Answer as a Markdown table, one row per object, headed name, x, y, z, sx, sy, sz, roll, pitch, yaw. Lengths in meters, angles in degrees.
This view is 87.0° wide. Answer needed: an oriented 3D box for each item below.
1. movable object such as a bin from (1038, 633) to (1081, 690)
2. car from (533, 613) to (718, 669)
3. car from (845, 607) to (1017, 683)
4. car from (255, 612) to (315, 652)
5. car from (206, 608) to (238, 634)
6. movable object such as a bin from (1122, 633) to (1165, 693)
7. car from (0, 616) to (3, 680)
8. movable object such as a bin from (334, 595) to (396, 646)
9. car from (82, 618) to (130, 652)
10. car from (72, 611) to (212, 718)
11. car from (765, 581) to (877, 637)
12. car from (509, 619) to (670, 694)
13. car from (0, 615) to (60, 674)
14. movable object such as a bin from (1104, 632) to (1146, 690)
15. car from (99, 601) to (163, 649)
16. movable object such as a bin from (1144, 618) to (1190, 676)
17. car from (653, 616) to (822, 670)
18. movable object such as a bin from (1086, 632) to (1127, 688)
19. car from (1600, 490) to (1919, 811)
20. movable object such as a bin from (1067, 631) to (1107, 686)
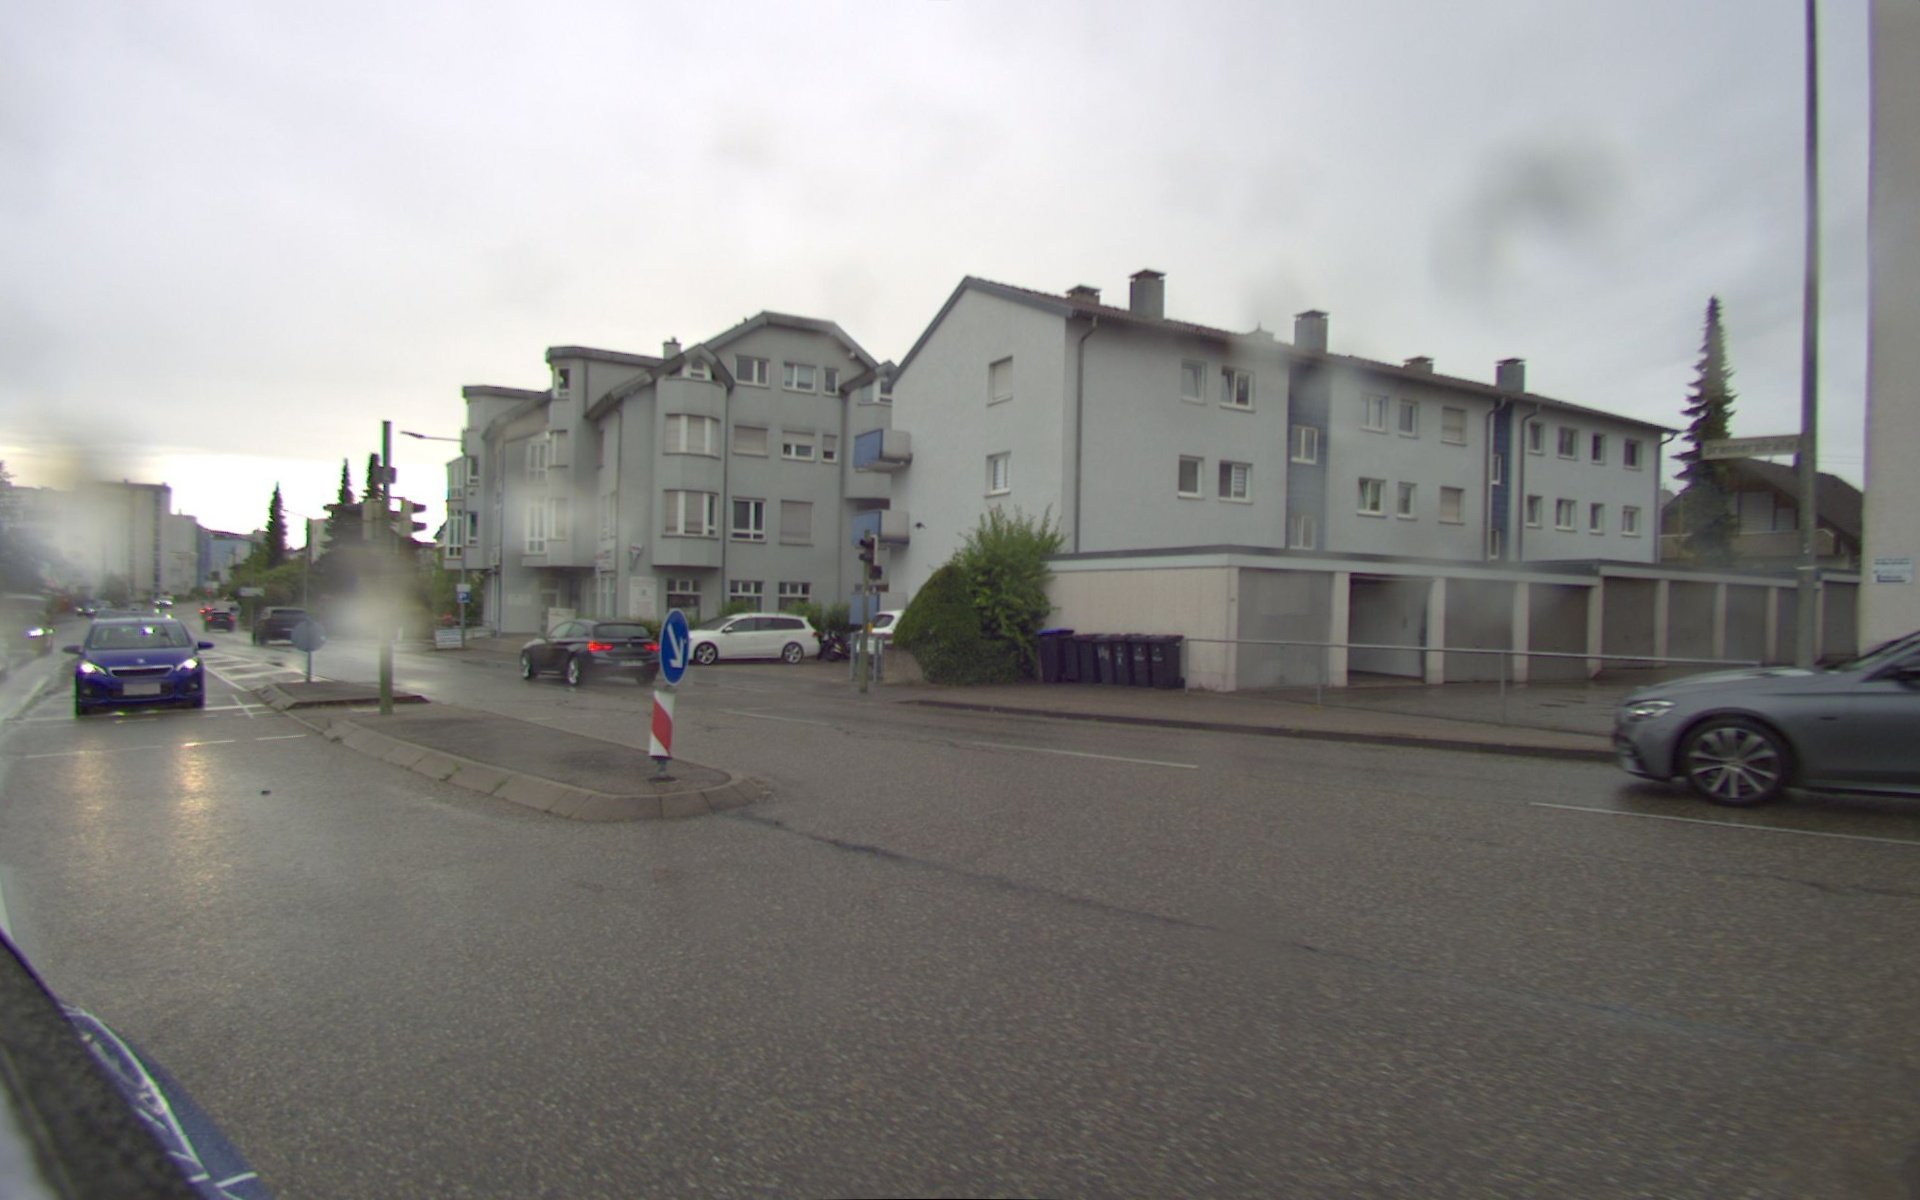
| name | x | y | z | sx | sy | sz | roll | pitch | yaw |
| --- | --- | --- | --- | --- | --- | --- | --- | --- | --- |
| movable object such as a bin | 1.946 | 1.188 | 19.823 | 0.492 | 1.026 | 0.690 | -4 | 3 | -30 |
| car | -10.991 | 1.300 | 33.493 | 5.392 | 1.697 | 2.152 | 1 | -1 | -39 |
| car | -0.694 | 1.062 | 25.350 | 3.933 | 1.763 | 1.834 | 0 | -1 | -34 |
| car | -32.599 | 1.512 | 48.806 | 2.070 | 1.847 | 4.743 | 1 | -1 | -38 |
| car | -59.740 | 1.719 | 81.900 | 1.968 | 2.029 | 4.008 | 1 | -1 | -38 |
| movable object such as a bin | 3.230 | 1.096 | 17.821 | 0.492 | 0.968 | 0.536 | -4 | 3 | -30 |
| car | -22.585 | 1.101 | 22.505 | 1.803 | 1.450 | 4.350 | 0 | -1 | -42 |
| movable object such as a bin | -34.697 | 1.180 | 59.089 | 2.877 | 2.863 | 2.204 | 0 | -1 | -25 |
| car | -49.435 | 2.024 | 58.610 | 1.969 | 1.874 | 4.006 | 3 | -3 | -40 |
| car | -13.405 | 0.967 | 16.531 | 1.627 | 1.568 | 3.356 | 1 | -1 | -41 |
| car | -5.264 | 0.351 | 38.117 | 3.932 | 2.029 | 2.005 | 0 | -1 | -15 |
| car | -8.223 | 1.157 | 22.270 | 1.767 | 1.483 | 4.166 | 1 | -1 | -45 |
| car | -31.870 | 1.479 | 34.141 | 1.968 | 1.874 | 4.007 | 3 | -3 | -39 |
| movable object such as a bin | 2.978 | 1.100 | 18.309 | 0.492 | 0.968 | 0.536 | -4 | 3 | -30 |
| car | -36.931 | 1.089 | 45.168 | 1.967 | 2.029 | 4.009 | 1 | -1 | -37 |
| movable object such as a bin | 3.534 | 0.788 | 17.317 | 0.492 | 0.968 | 0.603 | 1 | -1 | -30 |
| car | -6.601 | 1.228 | 30.194 | 4.549 | 1.508 | 1.934 | 1 | -1 | -34 |
| movable object such as a bin | 2.713 | 1.107 | 18.772 | 0.492 | 0.968 | 0.536 | -4 | 3 | -30 |
| car | 7.713 | 0.350 | 6.450 | 5.971 | 2.029 | 2.070 | -1 | -3 | 38 |
| movable object such as a bin | 2.416 | 1.111 | 19.259 | 0.492 | 0.968 | 0.536 | -4 | 3 | -30 |
